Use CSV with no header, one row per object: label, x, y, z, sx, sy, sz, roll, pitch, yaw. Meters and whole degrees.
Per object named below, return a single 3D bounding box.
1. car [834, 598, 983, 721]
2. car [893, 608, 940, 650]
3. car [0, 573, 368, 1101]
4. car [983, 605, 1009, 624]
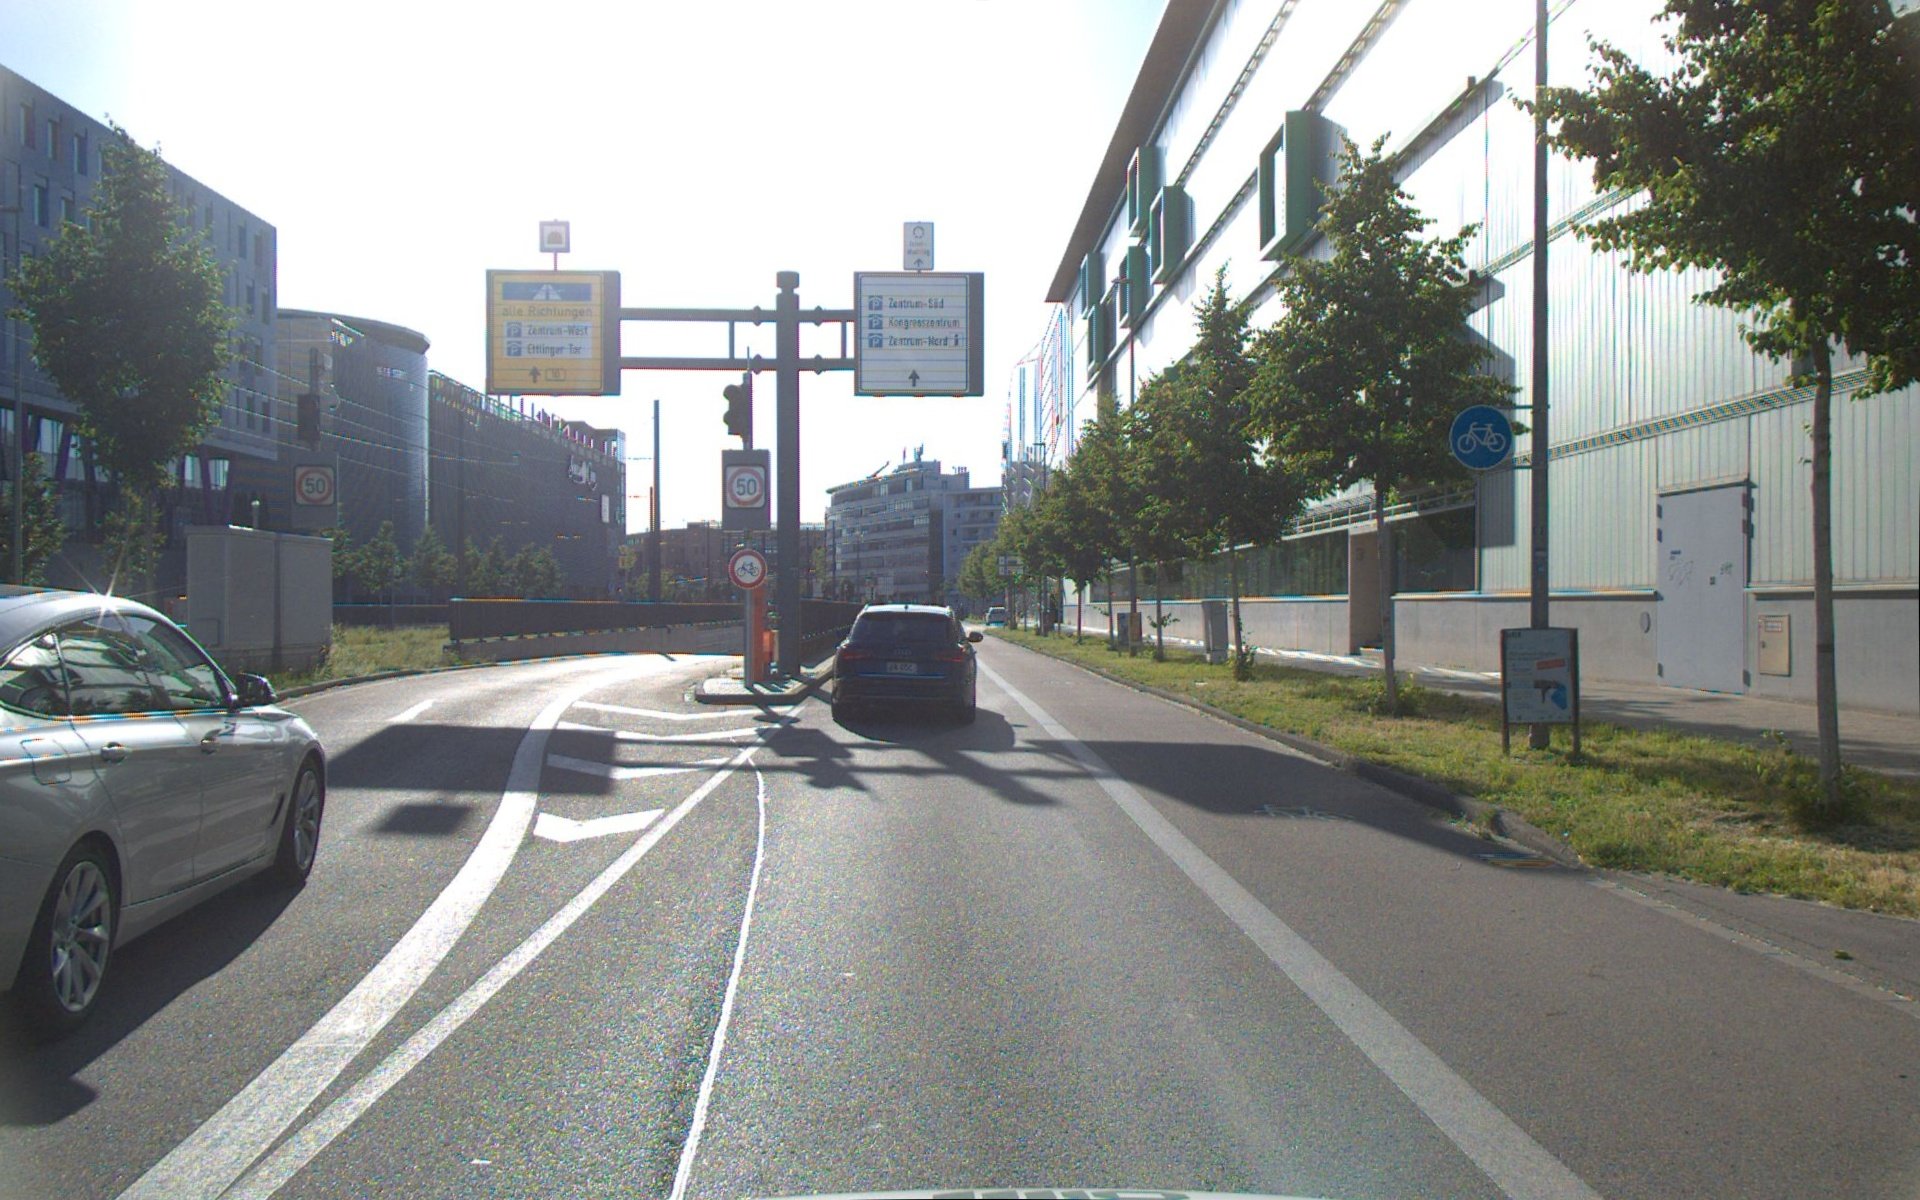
car,-0.621,0.732,22.150,1.775,1.452,4.689,0,-1,0
car,-1.747,1.147,66.723,1.815,1.573,3.999,1,0,-1
car,-3.926,0.671,6.750,1.764,1.553,4.903,2,0,-7
car,2.977,1.185,138.361,1.815,1.507,4.851,-2,0,-2
